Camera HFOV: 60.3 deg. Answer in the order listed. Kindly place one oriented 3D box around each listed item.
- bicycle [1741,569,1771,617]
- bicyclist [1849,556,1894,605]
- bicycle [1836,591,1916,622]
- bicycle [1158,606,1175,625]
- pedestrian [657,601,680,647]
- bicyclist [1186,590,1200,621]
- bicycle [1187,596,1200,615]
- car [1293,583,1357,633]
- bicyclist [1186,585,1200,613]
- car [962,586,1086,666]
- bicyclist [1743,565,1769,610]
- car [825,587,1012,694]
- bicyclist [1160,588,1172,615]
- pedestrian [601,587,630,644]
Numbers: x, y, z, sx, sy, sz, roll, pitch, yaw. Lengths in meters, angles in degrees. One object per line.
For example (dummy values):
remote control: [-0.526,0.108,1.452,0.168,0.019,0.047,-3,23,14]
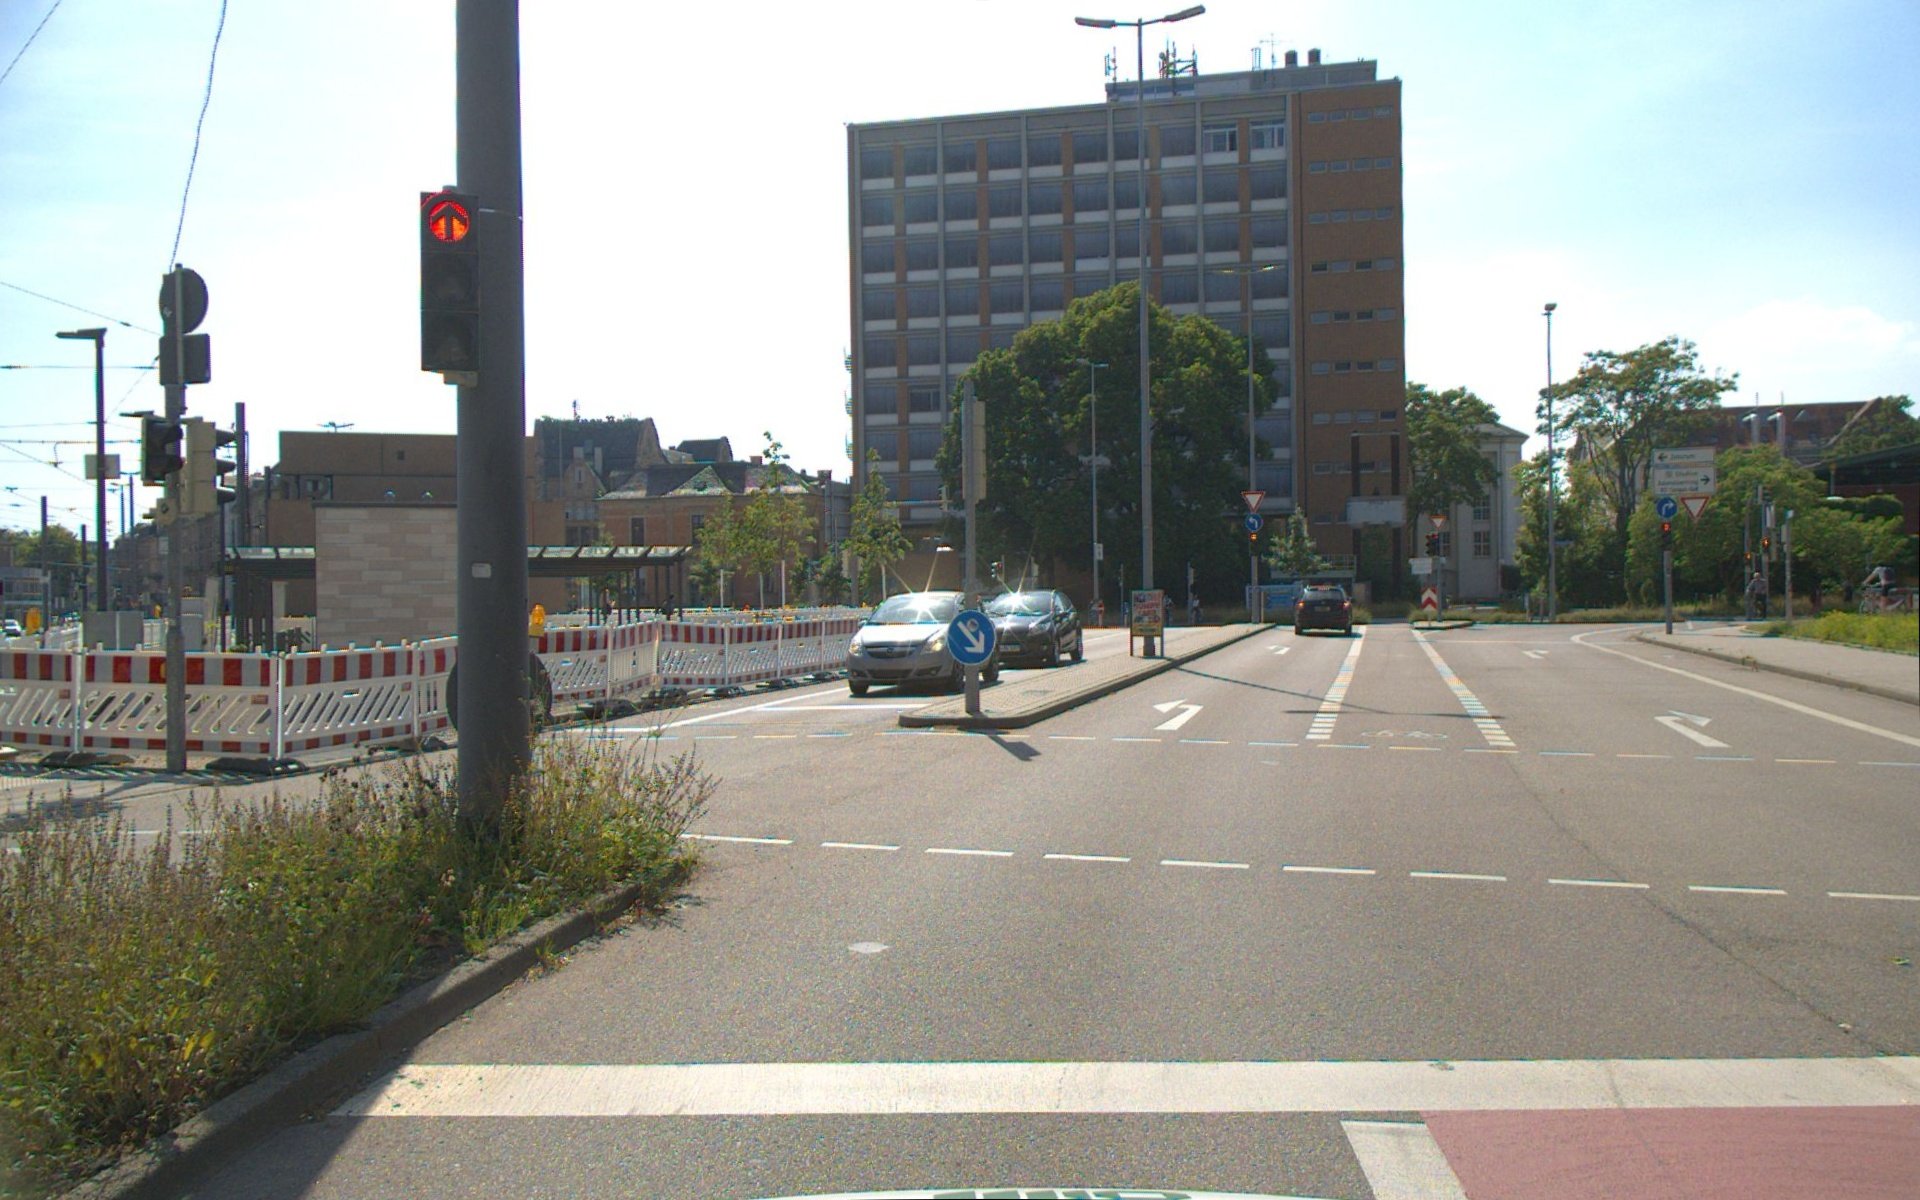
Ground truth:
bicycle: [30.233,-0.262,62.836,0.663,1.796,1.812,-2,0,14]
bicyclist: [28.460,-0.611,51.649,0.489,1.496,1.132,1,-1,-27]
bicycle: [28.551,0.217,51.579,0.665,0.932,2.149,-2,0,-28]
bicycle: [11.331,0.833,90.678,0.689,0.994,2.032,-2,0,12]
pedestrian: [-9.759,0.788,55.355,0.618,1.518,0.616,-2,0,-2]
bicyclist: [12.455,0.301,88.244,0.605,1.609,1.015,-4,0,10]
bicycle: [12.454,0.301,88.243,0.605,0.977,1.970,-4,0,10]
car: [11.193,0.209,50.629,1.742,1.468,3.821,1,1,15]
bicyclist: [12.434,-0.047,88.247,0.605,1.468,0.921,-4,0,10]
car: [1.324,0.465,32.750,1.631,1.476,3.821,0,1,15]
bicyclist: [30.220,-0.466,62.818,0.663,1.684,0.919,-2,0,14]
car: [-0.537,0.565,25.355,1.756,1.436,4.003,-3,0,15]
bicyclist: [11.287,0.072,90.636,0.528,1.441,1.031,-2,-1,13]
pedestrian: [-11.175,0.514,53.677,0.721,1.783,1.110,-2,-2,-1]
